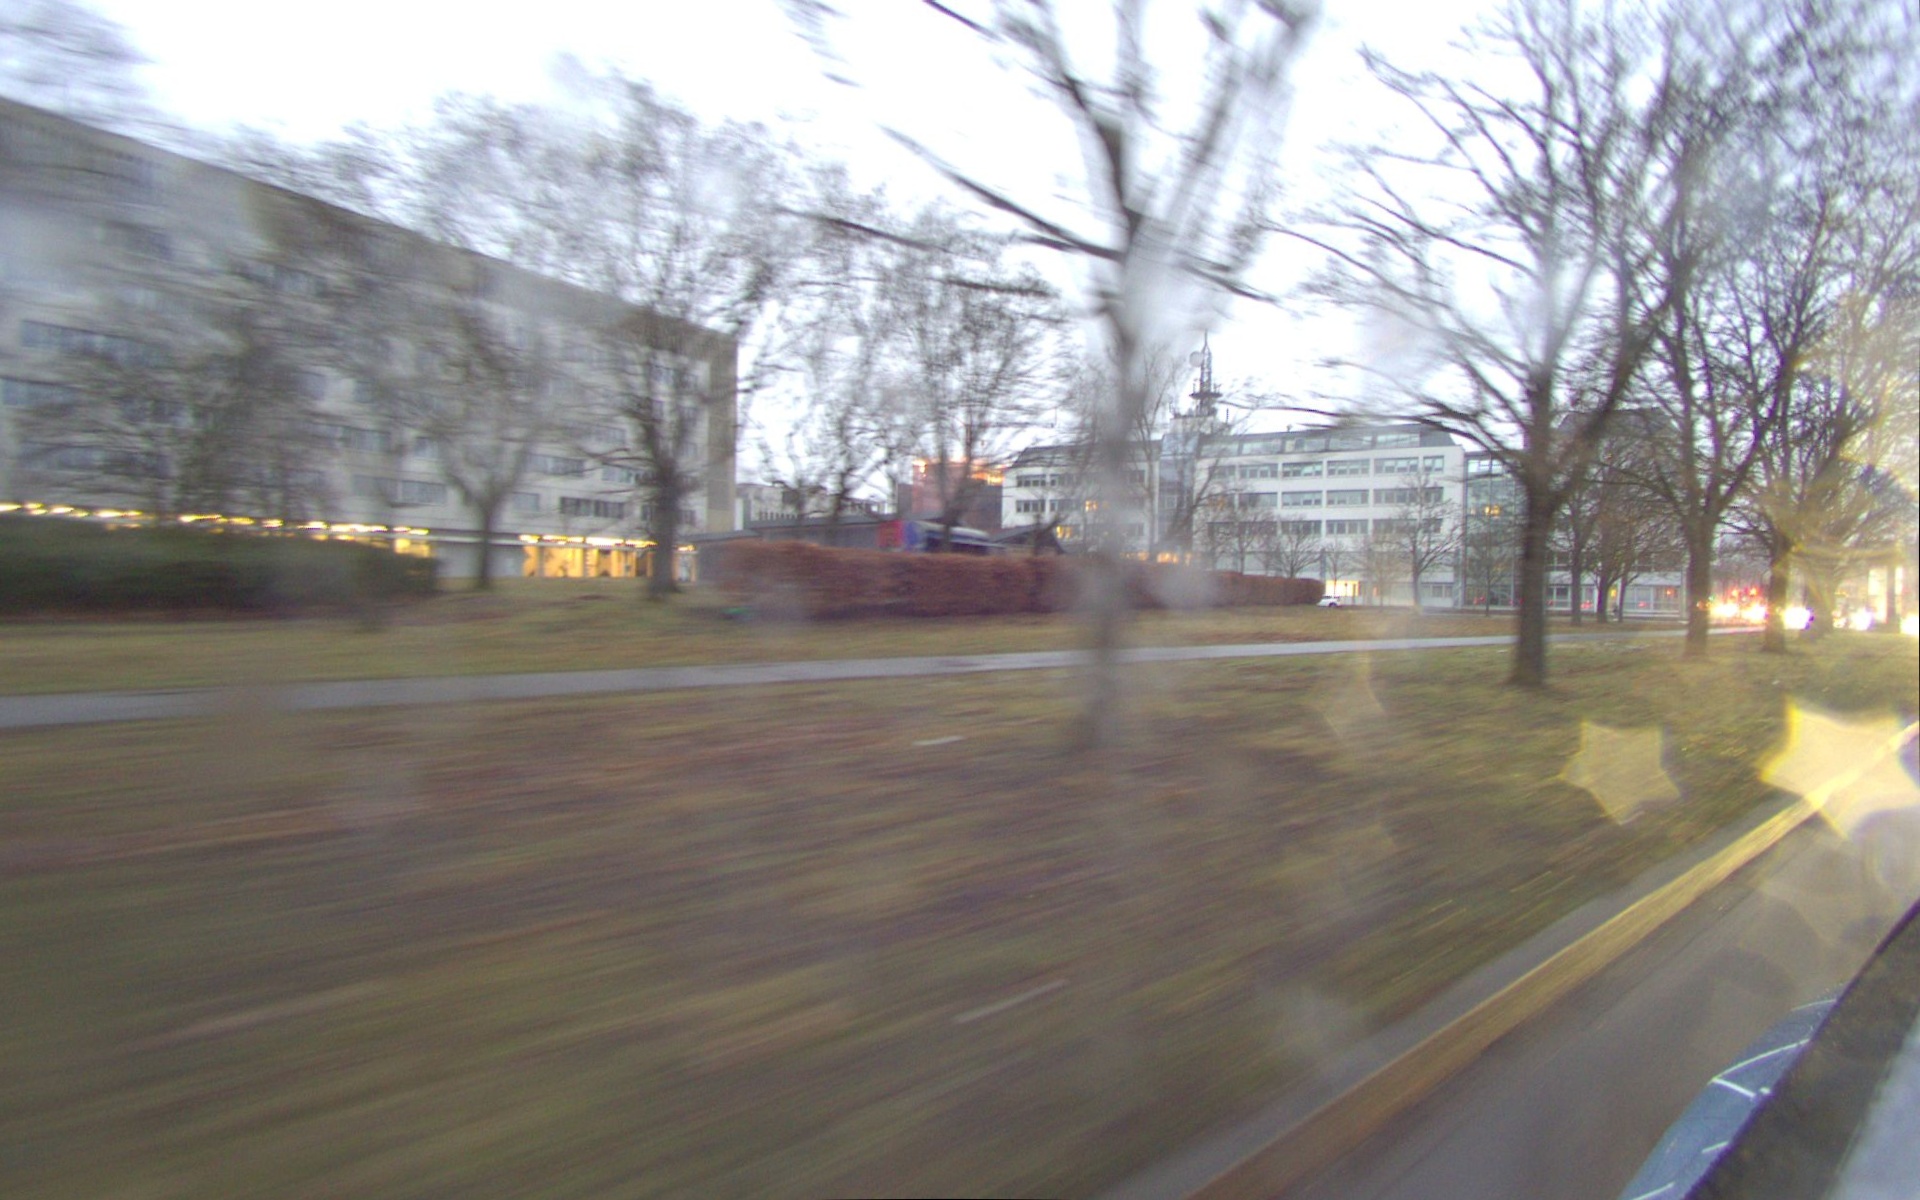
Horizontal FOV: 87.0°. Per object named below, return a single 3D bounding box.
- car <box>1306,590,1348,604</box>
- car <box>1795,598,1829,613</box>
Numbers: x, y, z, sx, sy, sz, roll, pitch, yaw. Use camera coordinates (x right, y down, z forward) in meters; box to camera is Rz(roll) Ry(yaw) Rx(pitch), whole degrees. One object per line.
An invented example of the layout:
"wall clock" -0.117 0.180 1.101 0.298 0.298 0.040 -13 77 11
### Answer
"car" 40.374 -0.375 111.301 4.128 1.456 1.884 2 1 29
"car" 84.032 0.510 99.888 1.985 1.340 3.955 2 1 31
